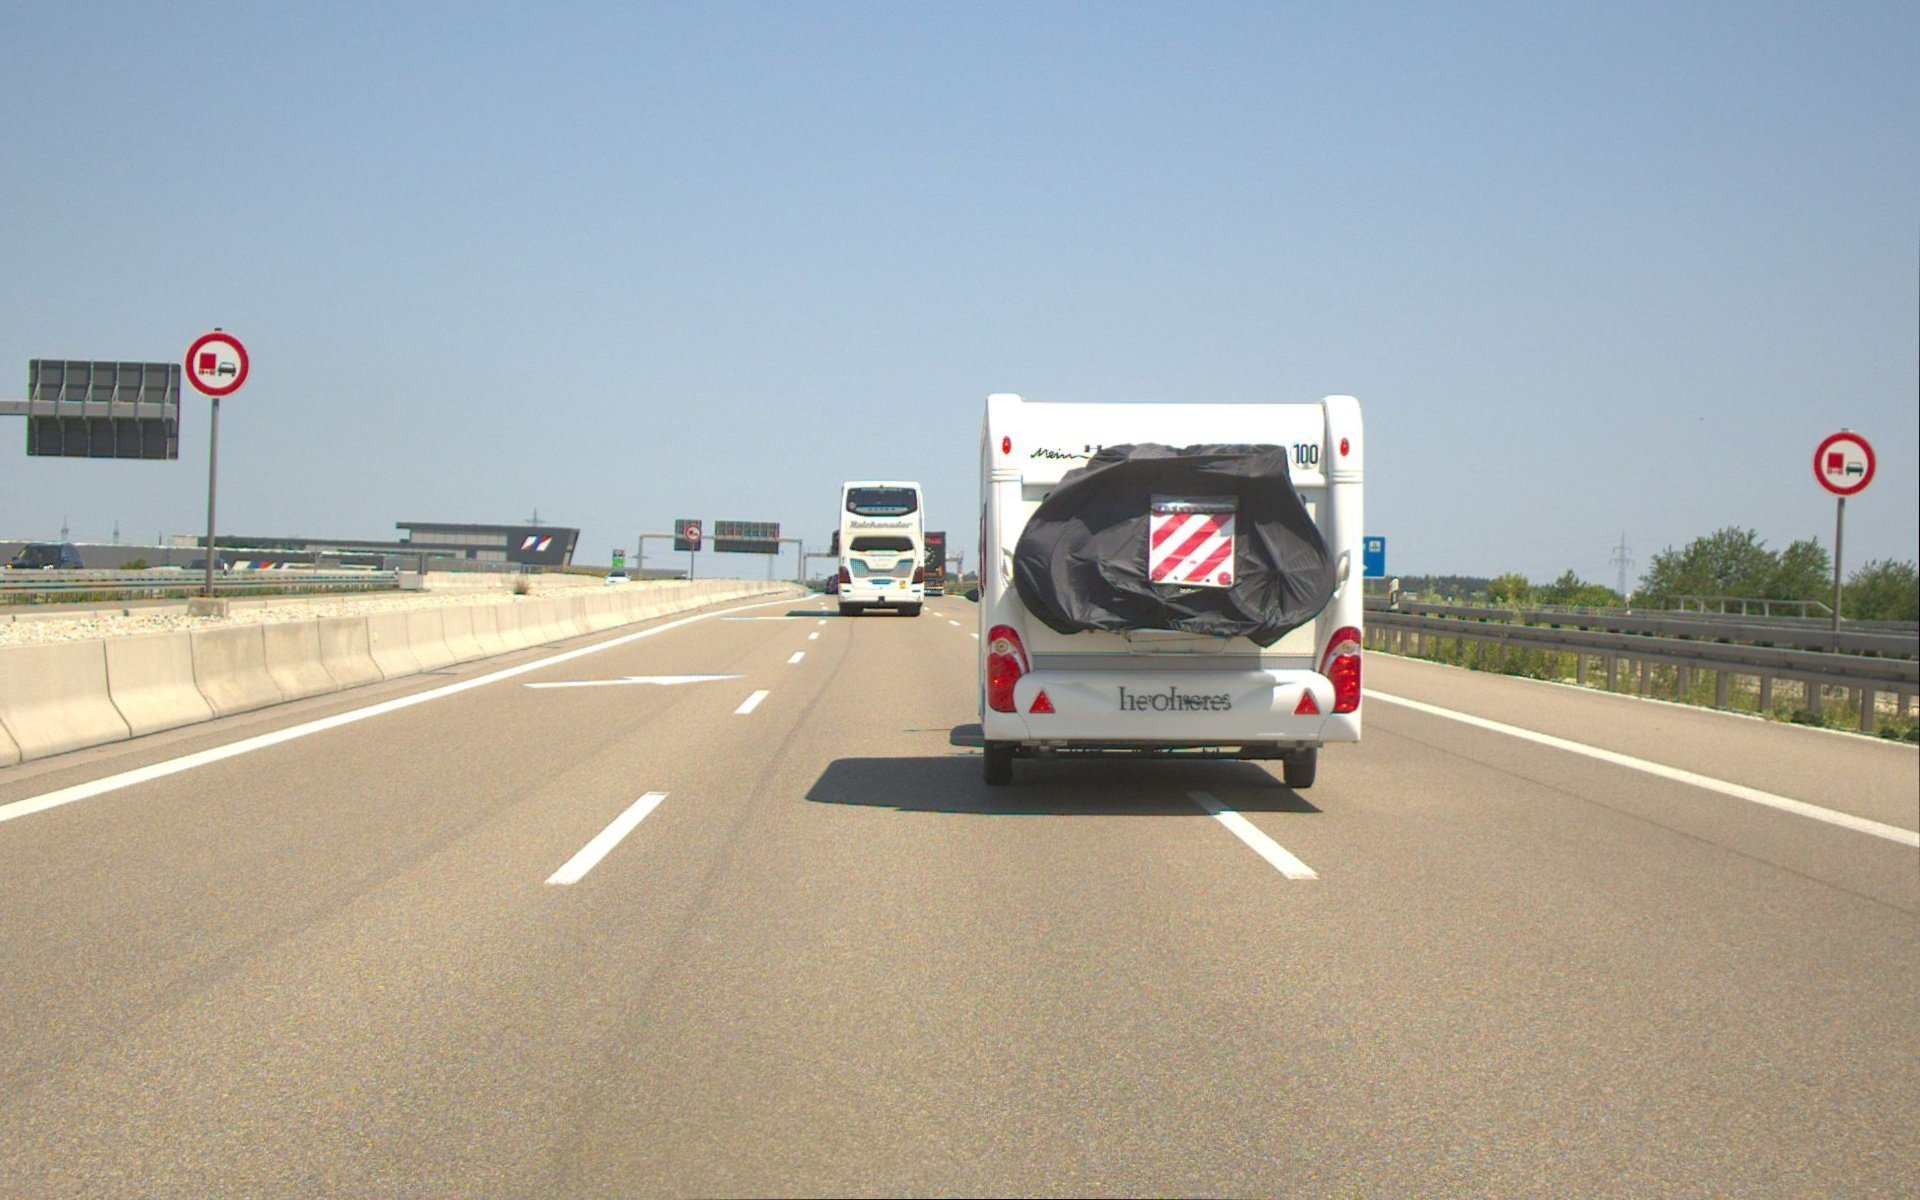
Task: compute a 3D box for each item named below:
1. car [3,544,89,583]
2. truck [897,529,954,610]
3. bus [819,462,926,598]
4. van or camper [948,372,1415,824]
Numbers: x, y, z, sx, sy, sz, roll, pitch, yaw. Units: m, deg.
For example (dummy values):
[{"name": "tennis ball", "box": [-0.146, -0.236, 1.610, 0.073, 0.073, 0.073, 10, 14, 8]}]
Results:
[{"name": "car", "box": [-33.832, -1.351, 127.360, 1.993, 1.375, 4.362, 1, 1, 1]}, {"name": "truck", "box": [-2.201, -1.837, 219.146, 3.379, 4.449, 13.566, 1, -2, 0]}, {"name": "bus", "box": [-2.769, -2.107, 105.930, 2.980, 3.961, 9.106, 1, 0, -3]}, {"name": "van or camper", "box": [1.267, -0.057, 23.780, 2.512, 2.584, 7.818, 1, 1, -1]}]
